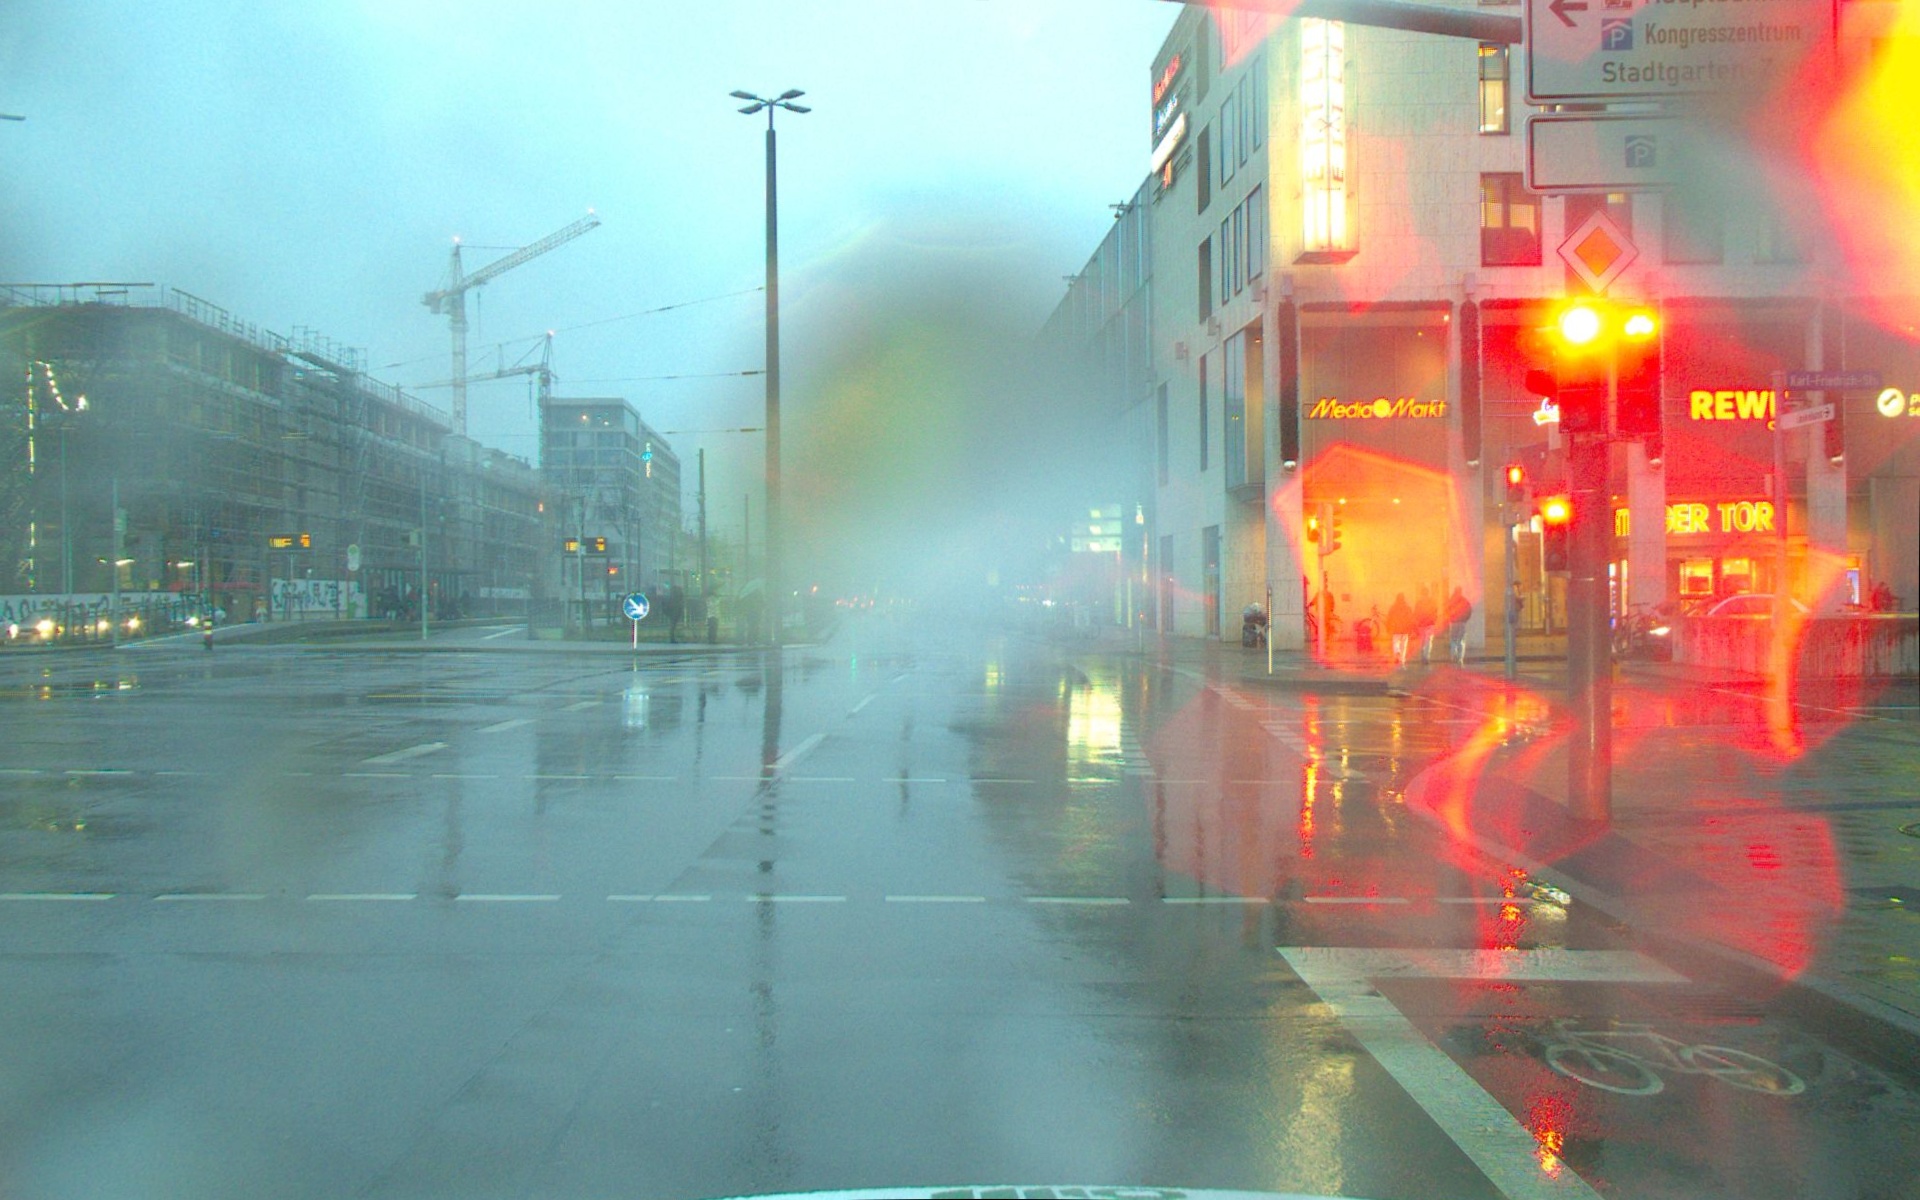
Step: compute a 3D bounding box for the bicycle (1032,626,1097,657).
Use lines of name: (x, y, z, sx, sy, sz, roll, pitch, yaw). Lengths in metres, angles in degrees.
bicycle: (3.939, 1.562, 62.326, 2.376, 1.118, 0.711, -1, -1, -3)

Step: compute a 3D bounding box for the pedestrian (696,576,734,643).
pedestrian: (-6.865, 0.261, 46.325, 0.813, 1.863, 0.777, 1, -1, -31)

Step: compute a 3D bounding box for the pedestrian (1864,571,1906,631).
pedestrian: (26.866, 0.025, 48.048, 0.875, 1.714, 0.528, -1, -1, -1)

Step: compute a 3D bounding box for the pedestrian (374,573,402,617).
pedestrian: (-26.960, -0.218, 77.933, 0.923, 2.049, 1.093, 1, -1, -3)

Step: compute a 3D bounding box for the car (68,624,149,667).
car: (-38.208, 2.024, 74.324, 1.956, 1.822, 3.994, 1, 0, -7)

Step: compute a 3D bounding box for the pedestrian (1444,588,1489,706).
pedestrian: (10.907, 0.999, 35.646, 0.679, 2.491, 0.791, 1, -1, -1)

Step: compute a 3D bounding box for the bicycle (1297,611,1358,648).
bicycle: (11.288, 0.906, 50.841, 1.733, 1.088, 0.524, 1, -1, -5)

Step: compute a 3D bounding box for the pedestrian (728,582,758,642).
pedestrian: (-6.282, 0.354, 47.874, 0.601, 1.715, 0.575, 0, -1, 41)

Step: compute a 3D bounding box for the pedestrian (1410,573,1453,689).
pedestrian: (10.181, 0.665, 35.743, 0.675, 2.484, 0.758, 1, -1, -1)

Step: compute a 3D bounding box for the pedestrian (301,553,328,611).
pedestrian: (-26.672, -0.748, 68.320, 0.750, 2.364, 0.762, 1, -2, -1)

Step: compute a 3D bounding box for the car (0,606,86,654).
car: (-37.132, 1.191, 66.920, 1.830, 1.860, 3.993, 1, 0, -8)

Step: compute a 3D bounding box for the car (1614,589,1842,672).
car: (16.230, 0.630, 35.097, 3.905, 1.646, 2.000, 1, 0, 0)

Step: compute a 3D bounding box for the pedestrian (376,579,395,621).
pedestrian: (-26.382, -0.009, 75.964, 0.684, 1.913, 0.553, 1, -1, -2)

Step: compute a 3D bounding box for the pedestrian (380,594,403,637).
pedestrian: (-25.666, 0.690, 74.673, 0.750, 1.931, 0.762, 1, -2, -1)

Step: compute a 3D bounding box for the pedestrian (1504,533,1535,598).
pedestrian: (17.938, -1.093, 53.039, 0.828, 2.049, 0.698, -1, 0, 8)

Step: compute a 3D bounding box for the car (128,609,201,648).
car: (-38.399, 1.362, 79.891, 1.956, 1.822, 3.994, 1, 0, -7)

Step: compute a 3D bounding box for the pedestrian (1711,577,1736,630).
pedestrian: (24.829, 0.116, 53.803, 0.603, 1.714, 0.366, -1, 0, -5)

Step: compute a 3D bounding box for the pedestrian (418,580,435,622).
pedestrian: (-25.923, 0.053, 80.385, 0.559, 2.002, 0.664, 2, -1, -7)

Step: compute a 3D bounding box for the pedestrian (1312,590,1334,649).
pedestrian: (11.019, 0.578, 50.215, 0.587, 1.775, 0.525, 1, -1, 7)

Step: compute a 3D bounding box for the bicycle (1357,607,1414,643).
bicycle: (13.117, 0.777, 51.003, 1.614, 1.088, 0.524, 1, -1, -5)

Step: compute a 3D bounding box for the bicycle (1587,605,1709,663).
bicycle: (17.197, 0.837, 41.357, 2.659, 1.383, 0.957, -1, -1, -4)

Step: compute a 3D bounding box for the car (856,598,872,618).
car: (-9.746, 0.822, 168.415, 1.546, 2.049, 3.169, -1, 0, -3)

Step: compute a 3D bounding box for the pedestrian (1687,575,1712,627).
pedestrian: (25.187, 0.049, 56.311, 0.721, 1.748, 0.738, -1, -1, 27)

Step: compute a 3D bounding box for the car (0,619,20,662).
car: (-36.410, 1.519, 60.541, 2.038, 1.557, 4.604, -1, 0, -10)

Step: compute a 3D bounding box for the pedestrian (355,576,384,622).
pedestrian: (-27.253, -0.043, 76.352, 0.923, 2.049, 1.093, 1, -1, -3)

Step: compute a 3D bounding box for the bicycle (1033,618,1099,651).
bicycle: (3.936, 1.285, 61.606, 2.393, 1.174, 0.674, -1, -1, -2)

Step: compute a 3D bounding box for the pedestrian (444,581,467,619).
pedestrian: (-27.681, 0.010, 90.744, 0.923, 2.049, 1.093, 1, -1, -3)

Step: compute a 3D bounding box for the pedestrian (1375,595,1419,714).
pedestrian: (9.249, 1.136, 35.013, 0.700, 2.484, 0.758, 1, -1, -1)

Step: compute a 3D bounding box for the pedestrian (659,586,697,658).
pedestrian: (-8.058, 0.627, 47.255, 0.771, 2.049, 0.724, 0, -1, 41)
